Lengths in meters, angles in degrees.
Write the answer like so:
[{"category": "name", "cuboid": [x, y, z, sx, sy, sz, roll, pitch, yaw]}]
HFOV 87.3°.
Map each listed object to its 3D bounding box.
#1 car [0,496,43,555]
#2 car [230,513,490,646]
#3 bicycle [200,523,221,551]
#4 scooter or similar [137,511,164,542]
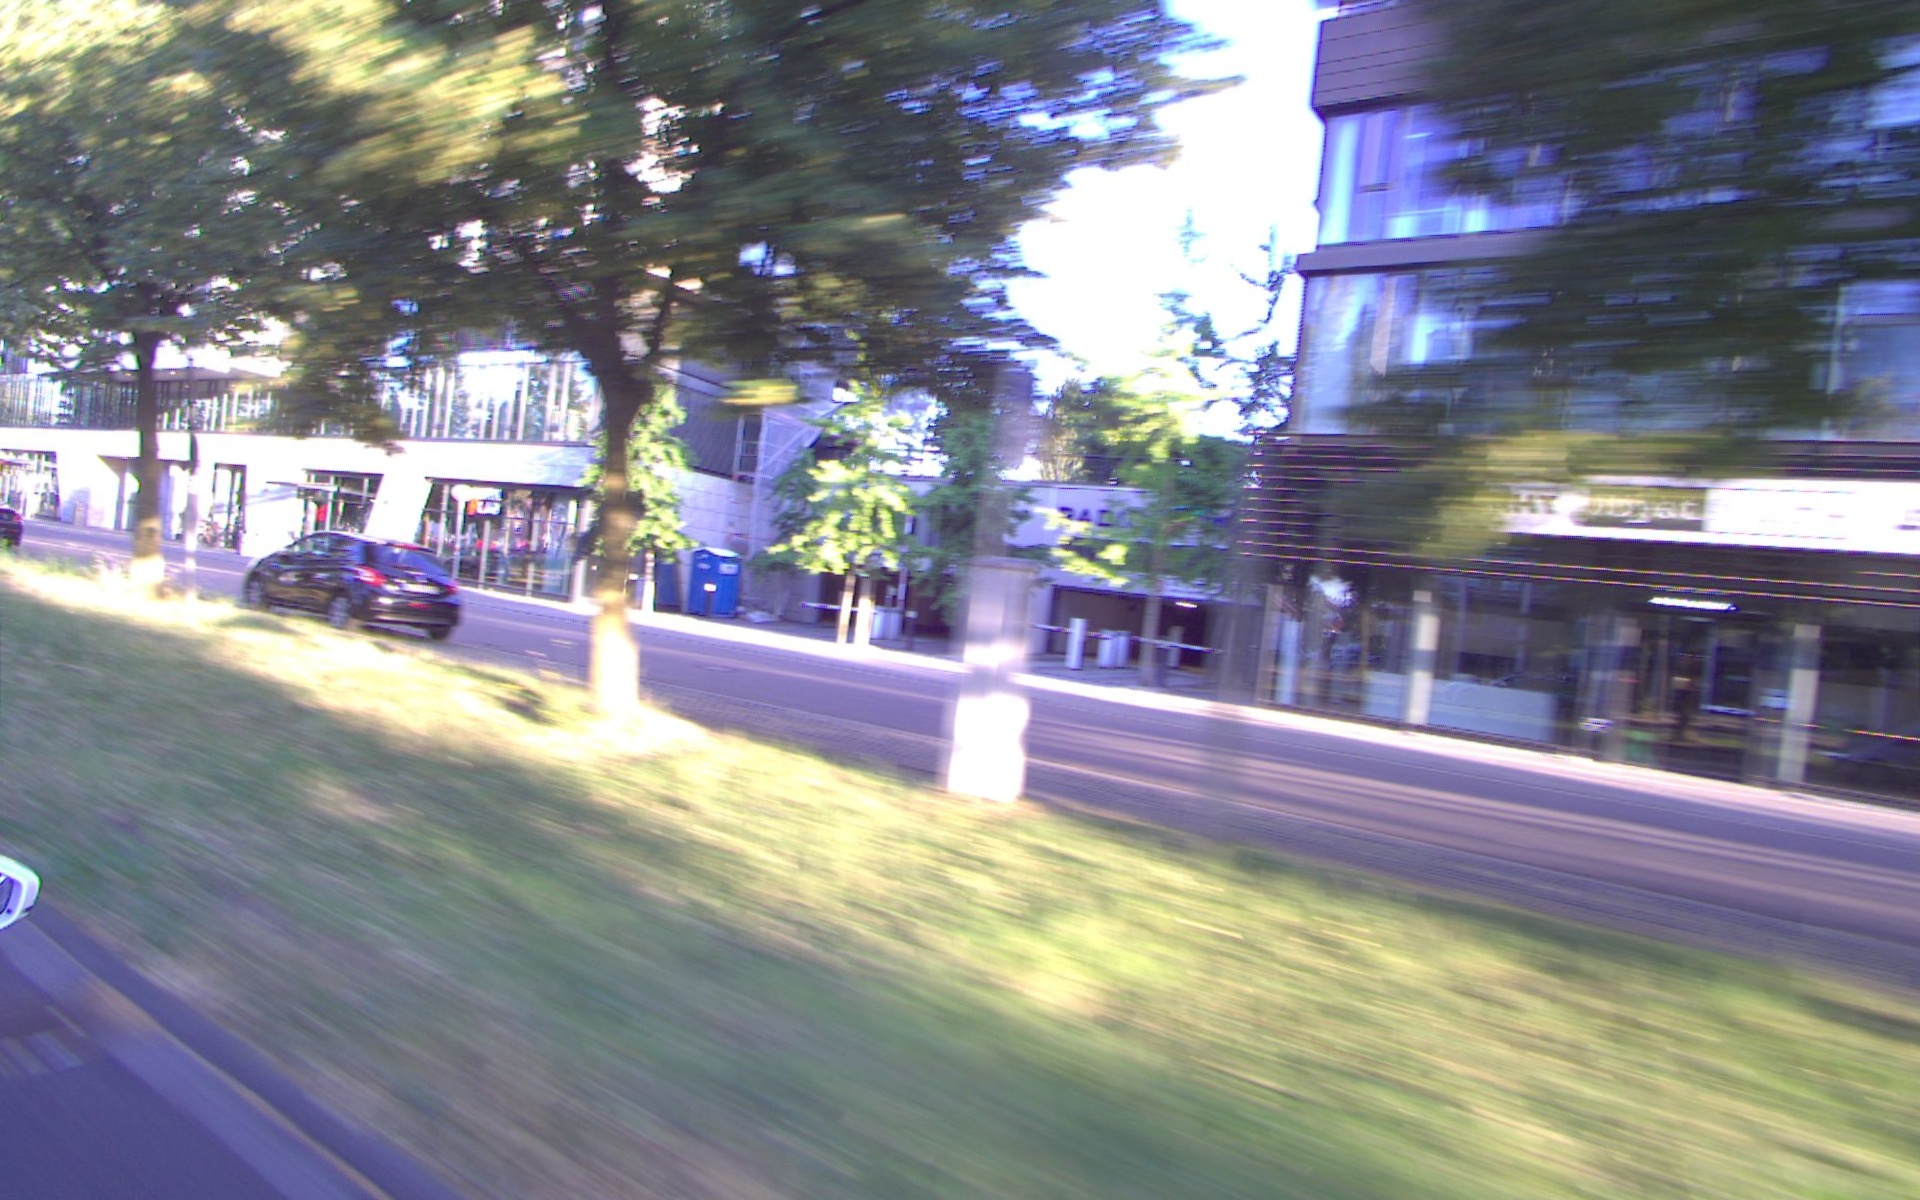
[{"category": "car", "cuboid": [-26.533, -2.157, 26.722, 4.752, 1.385, 1.854, 7, 2, 30]}, {"category": "car", "cuboid": [-9.518, -0.342, 15.899, 3.934, 1.510, 1.785, 7, -3, 32]}, {"category": "bicycle", "cuboid": [-30.054, -2.527, 40.351, 0.450, 1.040, 1.382, 6, 0, -31]}, {"category": "scooter or similar", "cuboid": [-34.991, -3.181, 43.490, 1.209, 1.226, 0.472, 7, 1, 33]}]
